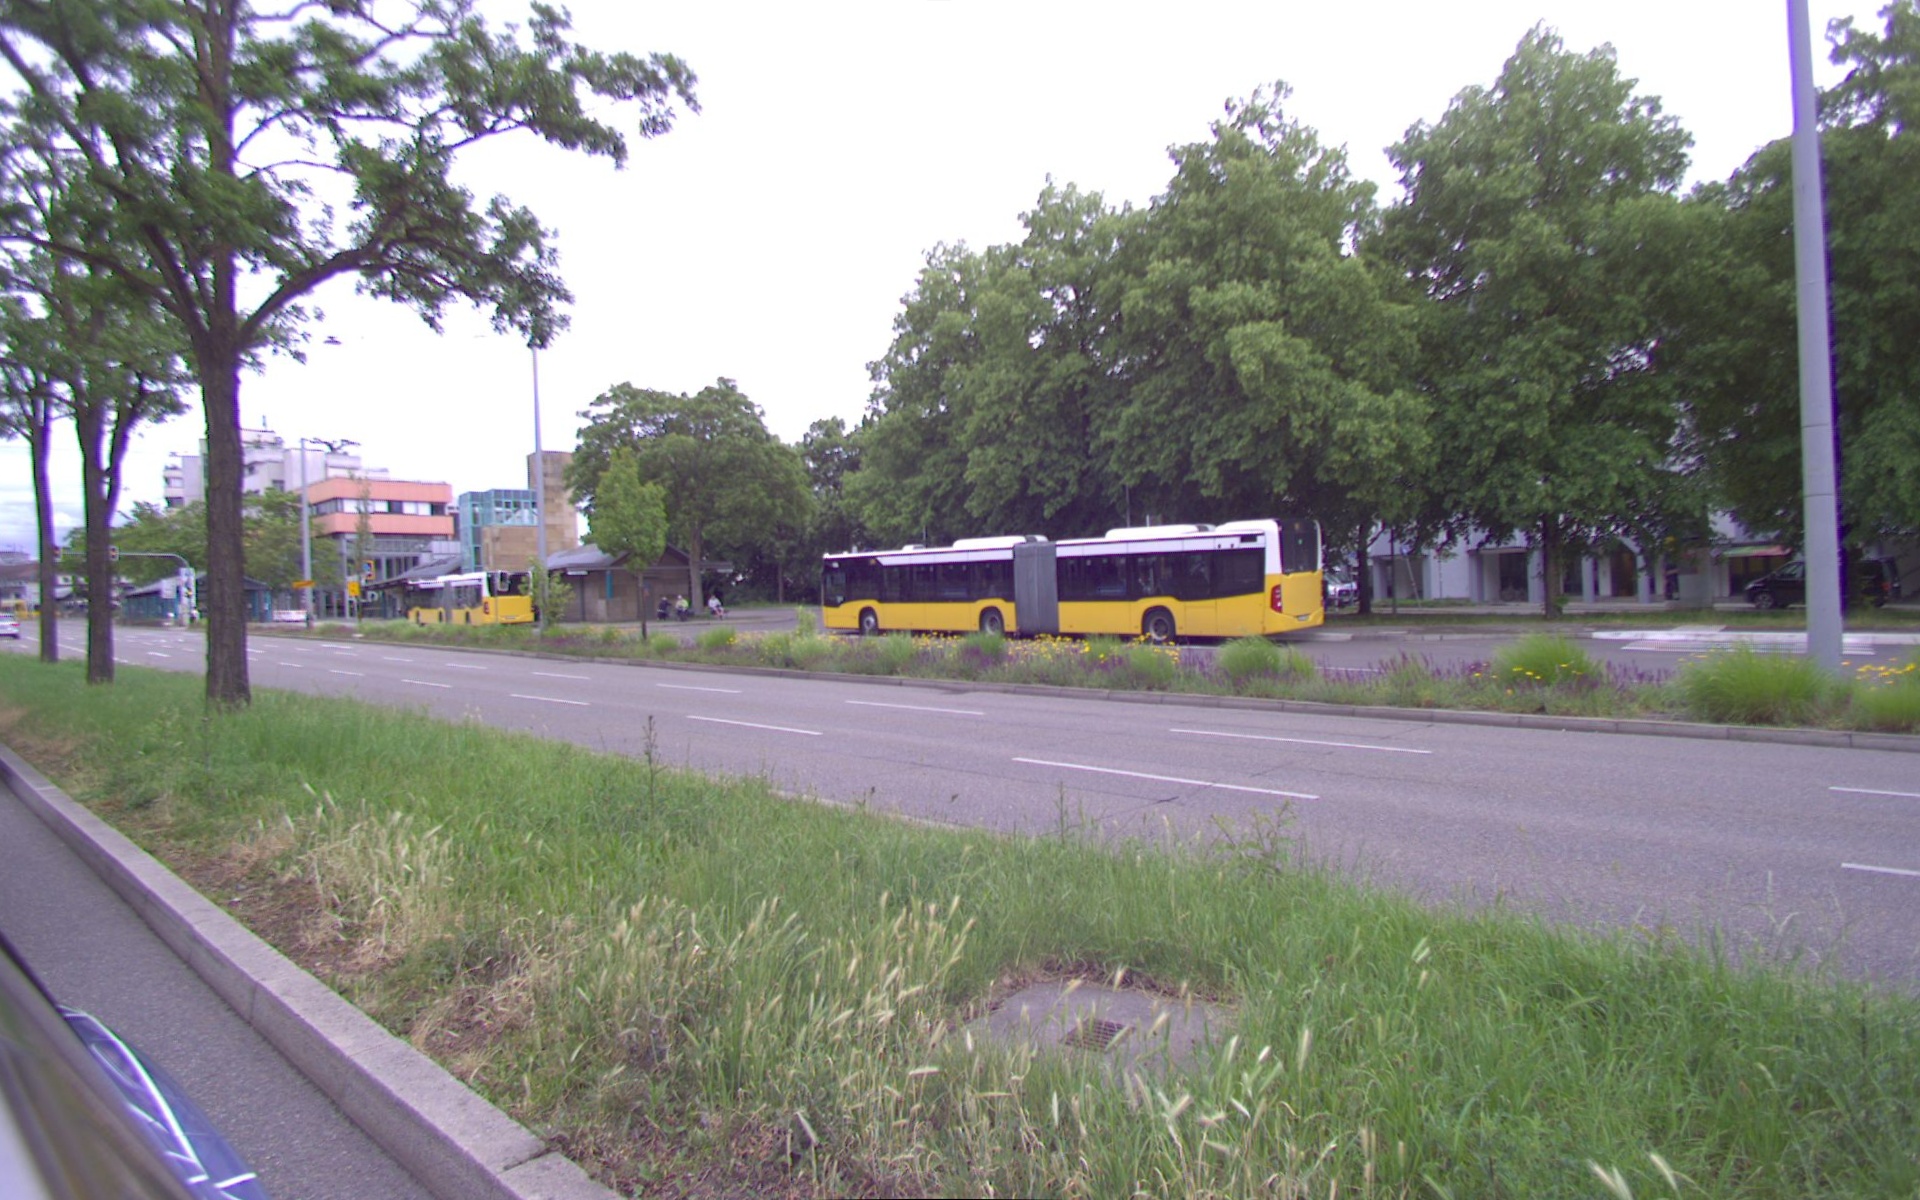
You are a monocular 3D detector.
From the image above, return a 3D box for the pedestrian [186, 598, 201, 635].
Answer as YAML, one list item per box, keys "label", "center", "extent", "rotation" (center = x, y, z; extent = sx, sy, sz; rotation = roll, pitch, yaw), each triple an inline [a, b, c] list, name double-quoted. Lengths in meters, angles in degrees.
- label: "pedestrian"
  center: [-58.962, 1.270, 77.848]
  extent: [0.889, 2.809, 1.150]
  rotation: [-1, 0, -36]

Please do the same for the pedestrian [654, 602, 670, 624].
- label: "pedestrian"
  center: [-15.495, 0.673, 52.583]
  extent: [0.590, 1.171, 0.745]
  rotation: [-1, 0, -33]

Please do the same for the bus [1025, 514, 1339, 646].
- label: "bus"
  center: [5.634, -0.415, 27.006]
  extent: [2.848, 3.025, 7.889]
  rotation: [-1, 0, -44]

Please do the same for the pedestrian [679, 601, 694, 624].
- label: "pedestrian"
  center: [-13.803, 0.634, 51.080]
  extent: [0.589, 1.171, 0.745]
  rotation: [-1, 0, -23]

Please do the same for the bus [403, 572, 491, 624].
- label: "bus"
  center: [-31.912, -0.063, 62.736]
  extent: [2.846, 3.025, 9.191]
  rotation: [-1, 0, -39]

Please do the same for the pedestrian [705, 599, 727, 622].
- label: "pedestrian"
  center: [-12.490, 0.522, 51.775]
  extent: [0.924, 1.180, 0.641]
  rotation: [-1, 0, 41]

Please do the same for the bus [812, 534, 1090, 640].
- label: "bus"
  center: [-0.678, -0.305, 33.635]
  extent: [2.848, 3.025, 10.401]
  rotation: [-1, 0, -44]

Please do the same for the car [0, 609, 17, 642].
- label: "car"
  center: [-60.626, 1.622, 63.646]
  extent: [4.000, 2.029, 1.703]
  rotation: [-1, 0, 43]

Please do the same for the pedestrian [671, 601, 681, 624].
- label: "pedestrian"
  center: [-14.320, 0.620, 50.967]
  extent: [0.361, 1.175, 0.900]
  rotation: [-1, 0, -23]

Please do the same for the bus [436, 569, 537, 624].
- label: "bus"
  center: [-26.347, -0.130, 56.068]
  extent: [2.846, 2.830, 9.191]
  rotation: [-1, 0, -39]

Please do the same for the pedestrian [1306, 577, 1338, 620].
- label: "pedestrian"
  center: [13.478, -0.052, 37.674]
  extent: [0.904, 1.569, 0.761]
  rotation: [-1, 0, 41]

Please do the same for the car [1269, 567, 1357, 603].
- label: "car"
  center: [17.952, -0.741, 51.666]
  extent: [1.663, 1.763, 4.010]
  rotation: [-1, 0, -36]

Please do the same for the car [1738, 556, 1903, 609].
- label: "car"
  center: [32.466, -0.612, 38.314]
  extent: [1.758, 1.861, 4.429]
  rotation: [-1, 0, -35]
